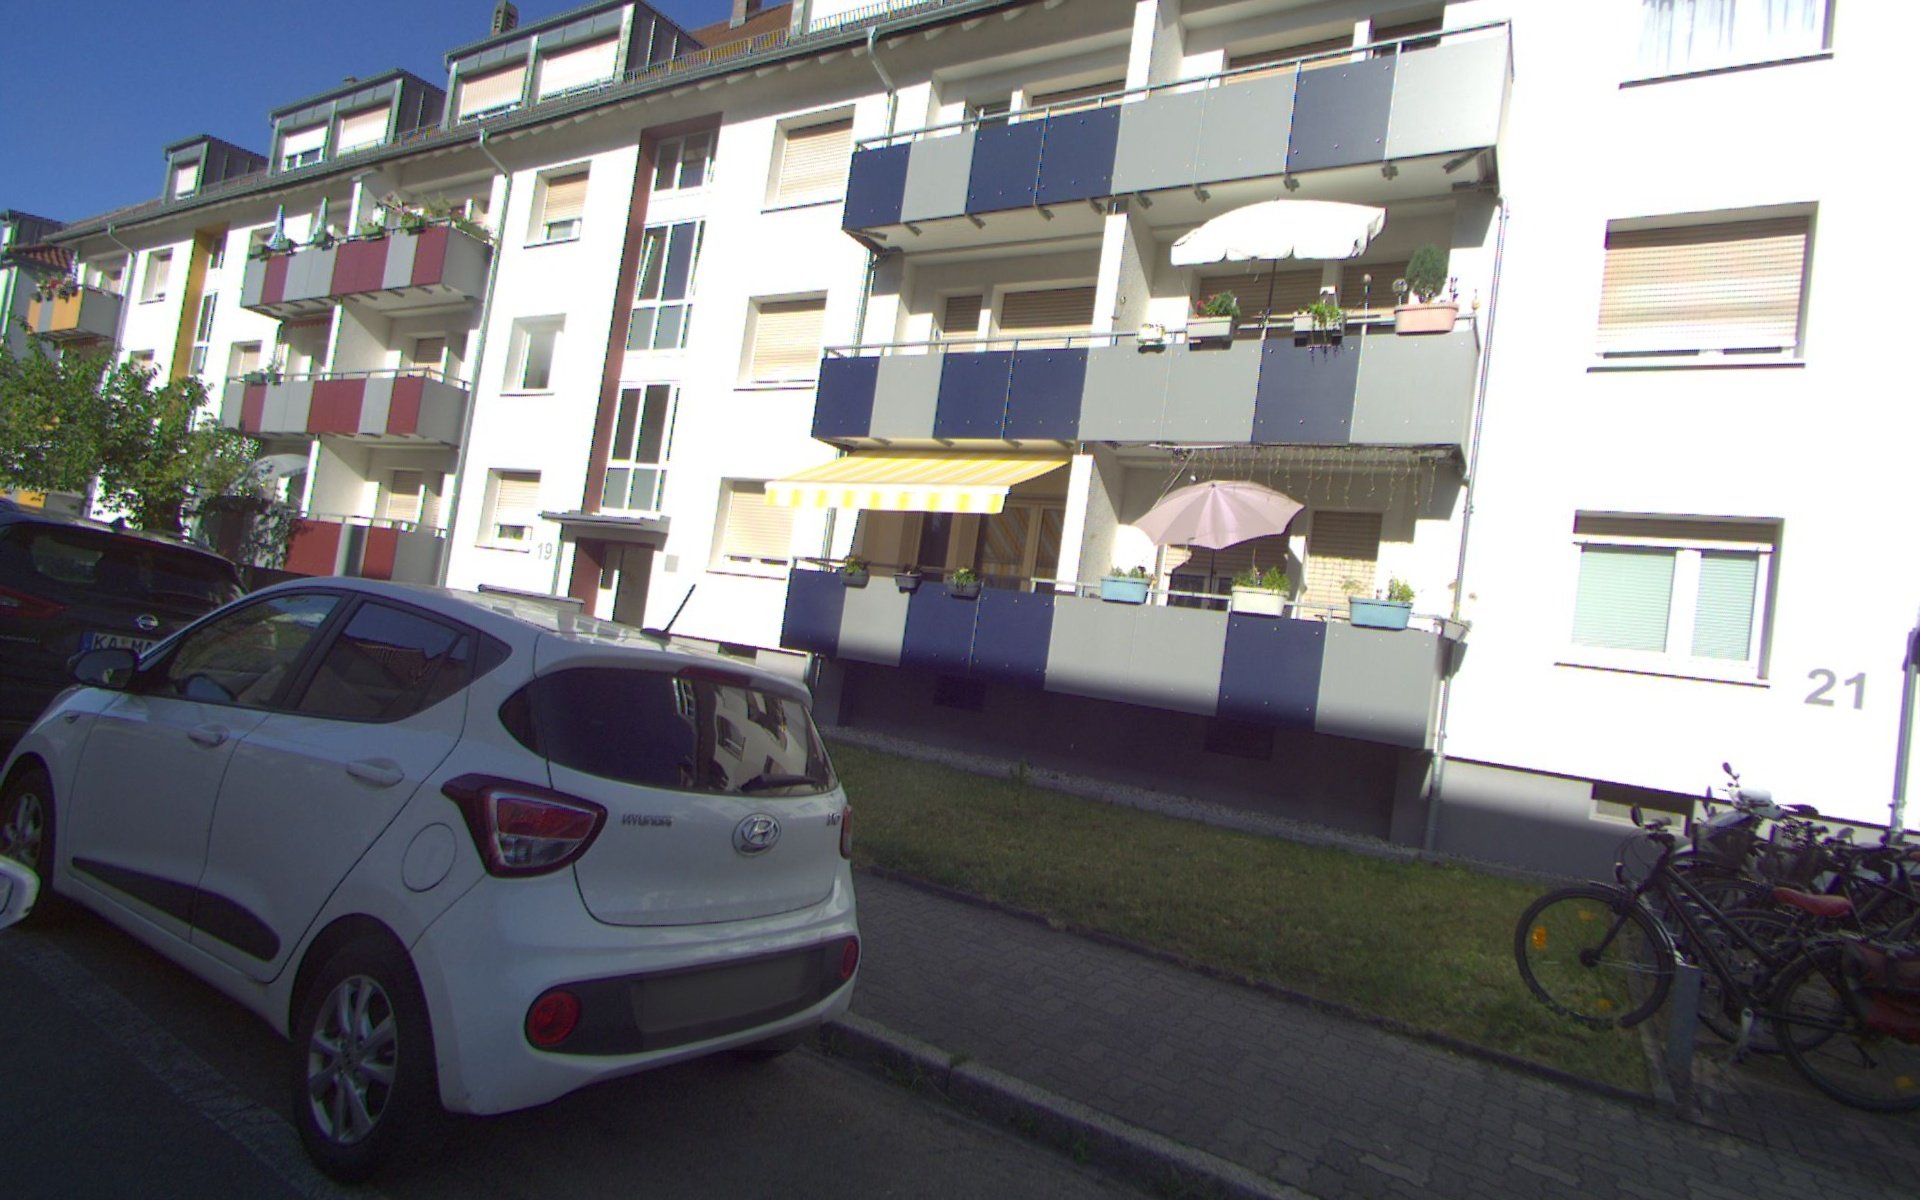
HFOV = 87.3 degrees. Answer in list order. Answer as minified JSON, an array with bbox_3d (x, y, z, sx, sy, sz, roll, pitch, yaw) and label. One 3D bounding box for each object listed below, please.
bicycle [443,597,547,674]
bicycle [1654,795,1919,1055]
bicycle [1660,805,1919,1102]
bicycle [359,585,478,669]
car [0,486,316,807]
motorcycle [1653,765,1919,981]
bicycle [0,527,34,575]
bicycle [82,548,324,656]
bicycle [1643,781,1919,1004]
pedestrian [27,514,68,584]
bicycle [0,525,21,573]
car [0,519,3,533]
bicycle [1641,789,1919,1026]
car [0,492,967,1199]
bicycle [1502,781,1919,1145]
[{"bbox_3d":[-7.873,0.582,17.000,1.942,1.049,0.521,7,-2,32],"label":"bicycle"},{"bbox_3d":[5.145,1.871,5.711,1.841,1.133,0.545,7,-1,31],"label":"bicycle"},{"bbox_3d":[4.632,1.779,4.912,1.841,1.146,0.578,7,-1,31],"label":"bicycle"},{"bbox_3d":[-8.589,0.414,15.904,2.250,1.061,0.521,7,-1,32],"label":"bicycle"},{"bbox_3d":[-6.336,0.094,6.553,4.280,1.596,1.728,7,-3,31],"label":"car"},{"bbox_3d":[6.569,2.071,7.697,1.944,1.252,0.442,7,-1,32],"label":"motorcycle"},{"bbox_3d":[-22.760,-1.172,24.074,0.235,1.059,0.741,7,-2,33],"label":"bicycle"},{"bbox_3d":[-10.361,0.064,13.888,0.866,1.142,2.426,6,-3,37],"label":"bicycle"},{"bbox_3d":[5.907,2.001,6.933,1.841,1.128,0.597,7,-2,31],"label":"bicycle"},{"bbox_3d":[-20.759,-1.155,22.895,0.354,1.511,0.451,5,-3,32],"label":"pedestrian"},{"bbox_3d":[-23.500,-1.274,24.567,1.278,1.099,0.404,7,-1,32],"label":"bicycle"},{"bbox_3d":[-10.677,-0.301,9.309,3.996,1.464,1.652,6,-5,34],"label":"car"},{"bbox_3d":[5.487,1.937,6.340,1.841,1.096,0.539,7,0,31],"label":"bicycle"},{"bbox_3d":[-2.126,0.634,3.853,3.789,1.523,1.721,7,-6,31],"label":"car"},{"bbox_3d":[3.652,1.620,4.688,1.842,1.184,0.545,6,-1,33],"label":"bicycle"}]
